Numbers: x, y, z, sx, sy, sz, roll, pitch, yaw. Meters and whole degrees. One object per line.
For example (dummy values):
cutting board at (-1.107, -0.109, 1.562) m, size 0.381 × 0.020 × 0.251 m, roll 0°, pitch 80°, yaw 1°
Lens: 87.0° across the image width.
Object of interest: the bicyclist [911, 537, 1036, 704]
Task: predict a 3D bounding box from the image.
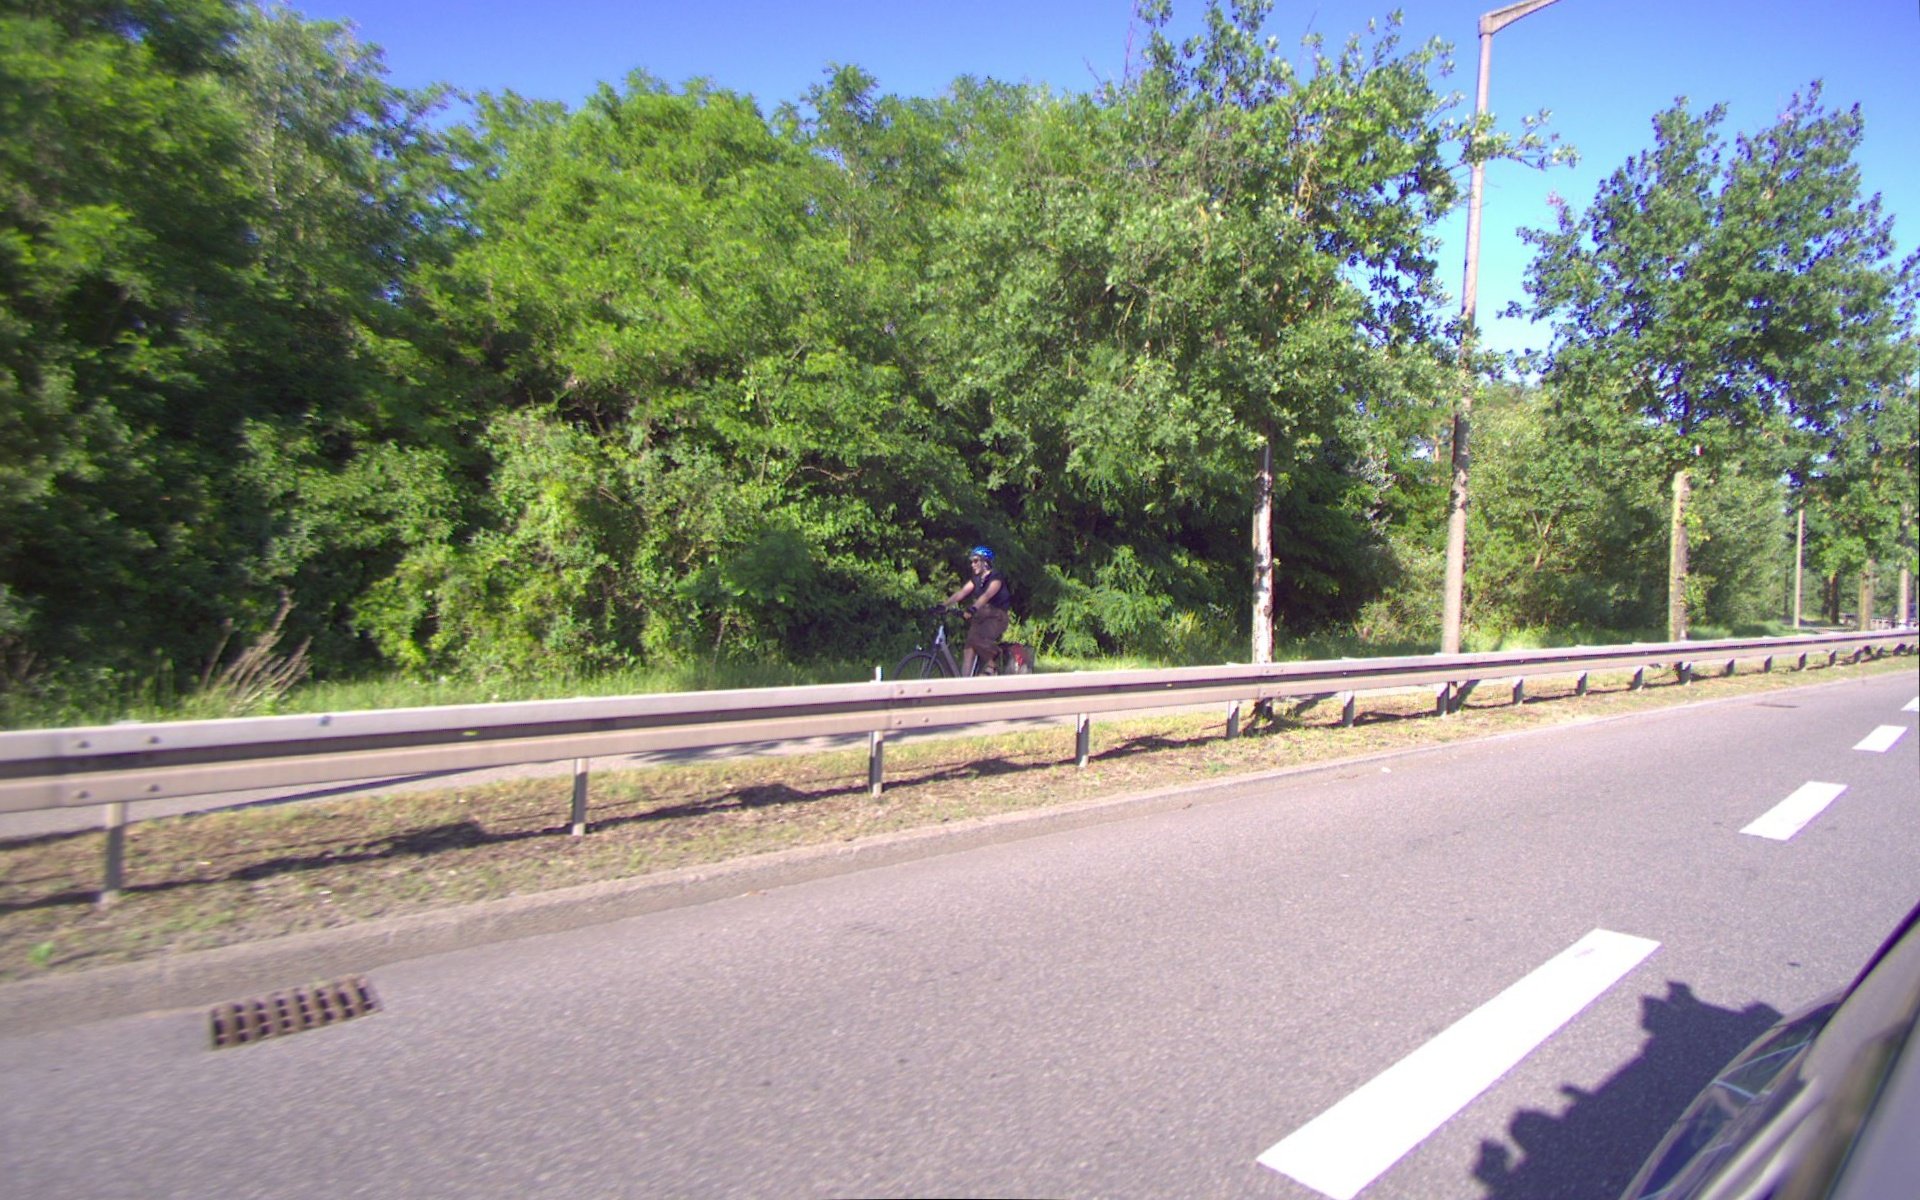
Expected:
bicyclist at (0.139, 0.188, 10.276) m, size 0.986 × 1.597 × 0.709 m, roll 1°, pitch 2°, yaw -39°

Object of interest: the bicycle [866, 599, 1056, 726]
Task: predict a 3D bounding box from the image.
bicycle at (0.039, 0.579, 10.215) m, size 1.887 × 1.087 × 0.703 m, roll -2°, pitch 4°, yaw -39°
